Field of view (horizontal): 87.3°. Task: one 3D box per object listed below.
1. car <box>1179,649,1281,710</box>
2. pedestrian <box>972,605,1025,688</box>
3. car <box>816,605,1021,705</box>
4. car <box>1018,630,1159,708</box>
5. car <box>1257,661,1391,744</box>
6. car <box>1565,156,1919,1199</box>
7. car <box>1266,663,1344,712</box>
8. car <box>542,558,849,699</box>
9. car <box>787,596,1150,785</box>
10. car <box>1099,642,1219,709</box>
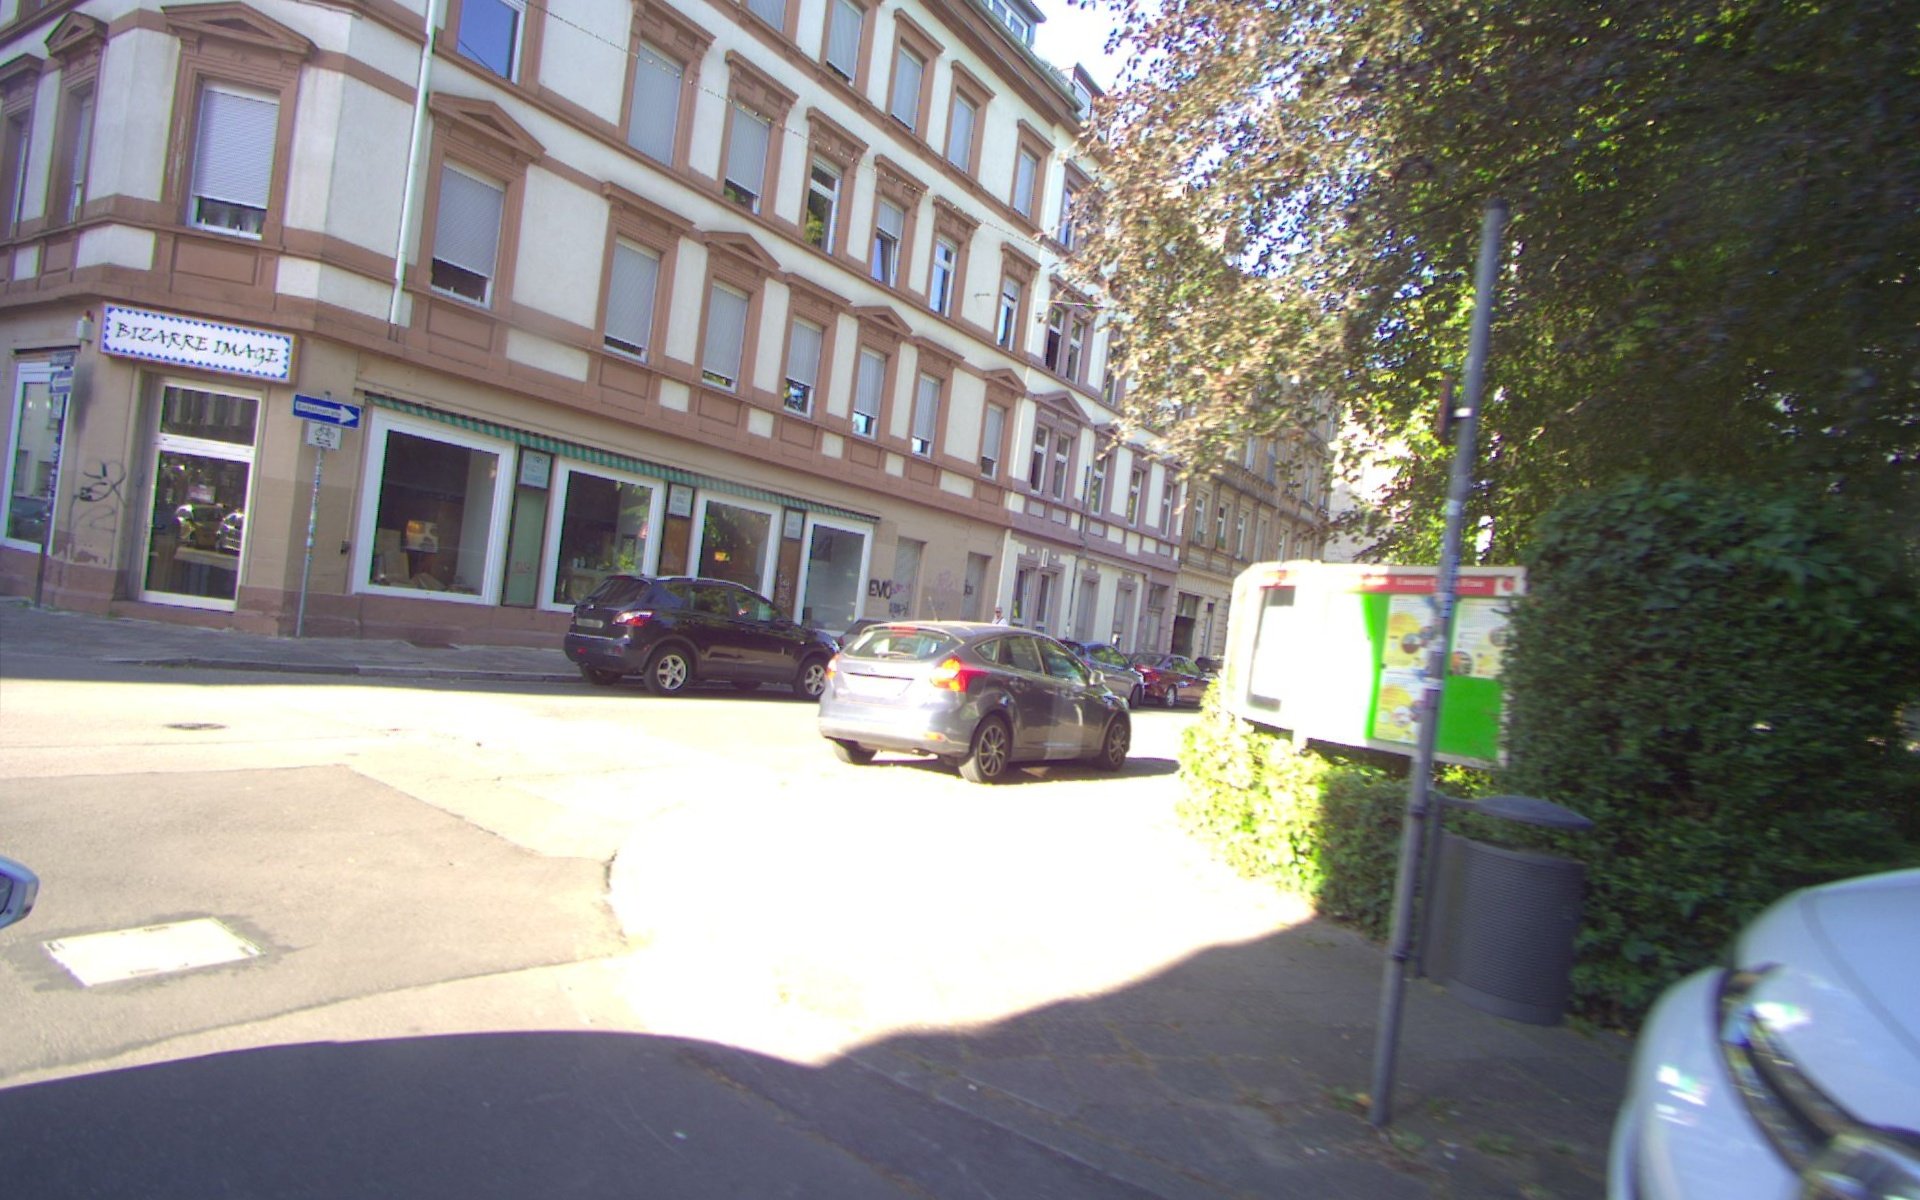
[{"bbox_3d":[8.518,2.521,31.516,1.609,1.571,3.881,4,-3,38],"label":"car"},{"bbox_3d":[0.969,1.188,25.482,0.787,1.943,0.716,10,1,31],"label":"pedestrian"},{"bbox_3d":[-0.663,1.071,18.719,1.609,1.489,3.855,4,-3,38],"label":"car"},{"bbox_3d":[3.085,1.653,23.660,1.609,1.489,3.531,4,-3,38],"label":"car"},{"bbox_3d":[7.885,2.226,21.609,1.609,1.489,3.531,4,-3,38],"label":"car"},{"bbox_3d":[3.158,0.867,0.561,4.714,2.024,1.915,7,2,33],"label":"car"},{"bbox_3d":[13.423,3.427,39.027,1.609,1.571,3.881,4,-3,38],"label":"car"},{"bbox_3d":[-3.655,0.480,14.494,1.735,1.626,3.919,4,-3,38],"label":"car"},{"bbox_3d":[0.289,0.946,10.408,1.770,1.455,3.923,5,-3,35],"label":"car"},{"bbox_3d":[5.459,2.081,27.287,1.609,1.489,3.689,4,-3,38],"label":"car"}]
